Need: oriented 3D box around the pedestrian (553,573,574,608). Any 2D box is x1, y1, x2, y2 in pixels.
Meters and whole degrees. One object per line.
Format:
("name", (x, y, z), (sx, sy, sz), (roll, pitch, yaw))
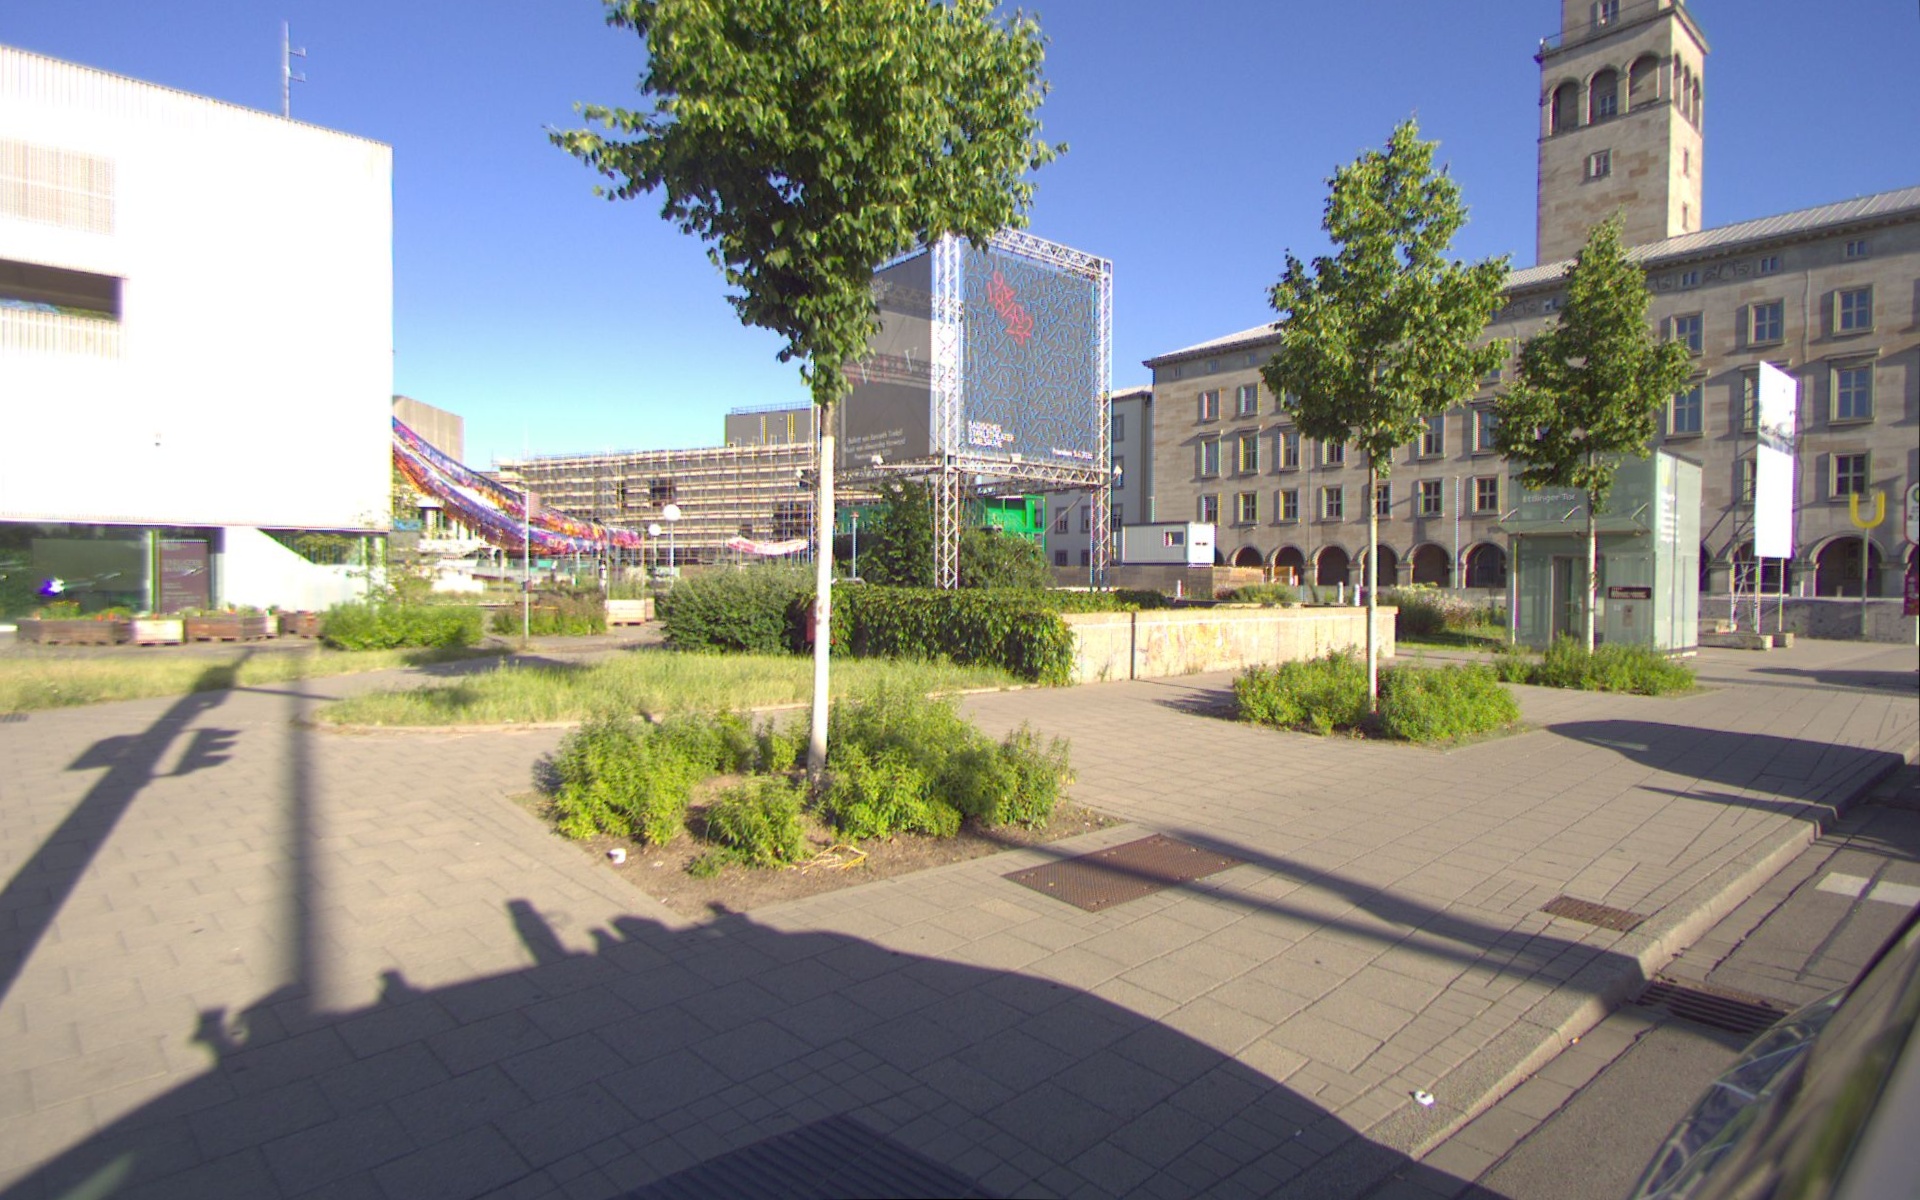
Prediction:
("pedestrian", (-16.057, -0.396, 41.009), (0.635, 1.398, 0.632), (0, 1, -4))
